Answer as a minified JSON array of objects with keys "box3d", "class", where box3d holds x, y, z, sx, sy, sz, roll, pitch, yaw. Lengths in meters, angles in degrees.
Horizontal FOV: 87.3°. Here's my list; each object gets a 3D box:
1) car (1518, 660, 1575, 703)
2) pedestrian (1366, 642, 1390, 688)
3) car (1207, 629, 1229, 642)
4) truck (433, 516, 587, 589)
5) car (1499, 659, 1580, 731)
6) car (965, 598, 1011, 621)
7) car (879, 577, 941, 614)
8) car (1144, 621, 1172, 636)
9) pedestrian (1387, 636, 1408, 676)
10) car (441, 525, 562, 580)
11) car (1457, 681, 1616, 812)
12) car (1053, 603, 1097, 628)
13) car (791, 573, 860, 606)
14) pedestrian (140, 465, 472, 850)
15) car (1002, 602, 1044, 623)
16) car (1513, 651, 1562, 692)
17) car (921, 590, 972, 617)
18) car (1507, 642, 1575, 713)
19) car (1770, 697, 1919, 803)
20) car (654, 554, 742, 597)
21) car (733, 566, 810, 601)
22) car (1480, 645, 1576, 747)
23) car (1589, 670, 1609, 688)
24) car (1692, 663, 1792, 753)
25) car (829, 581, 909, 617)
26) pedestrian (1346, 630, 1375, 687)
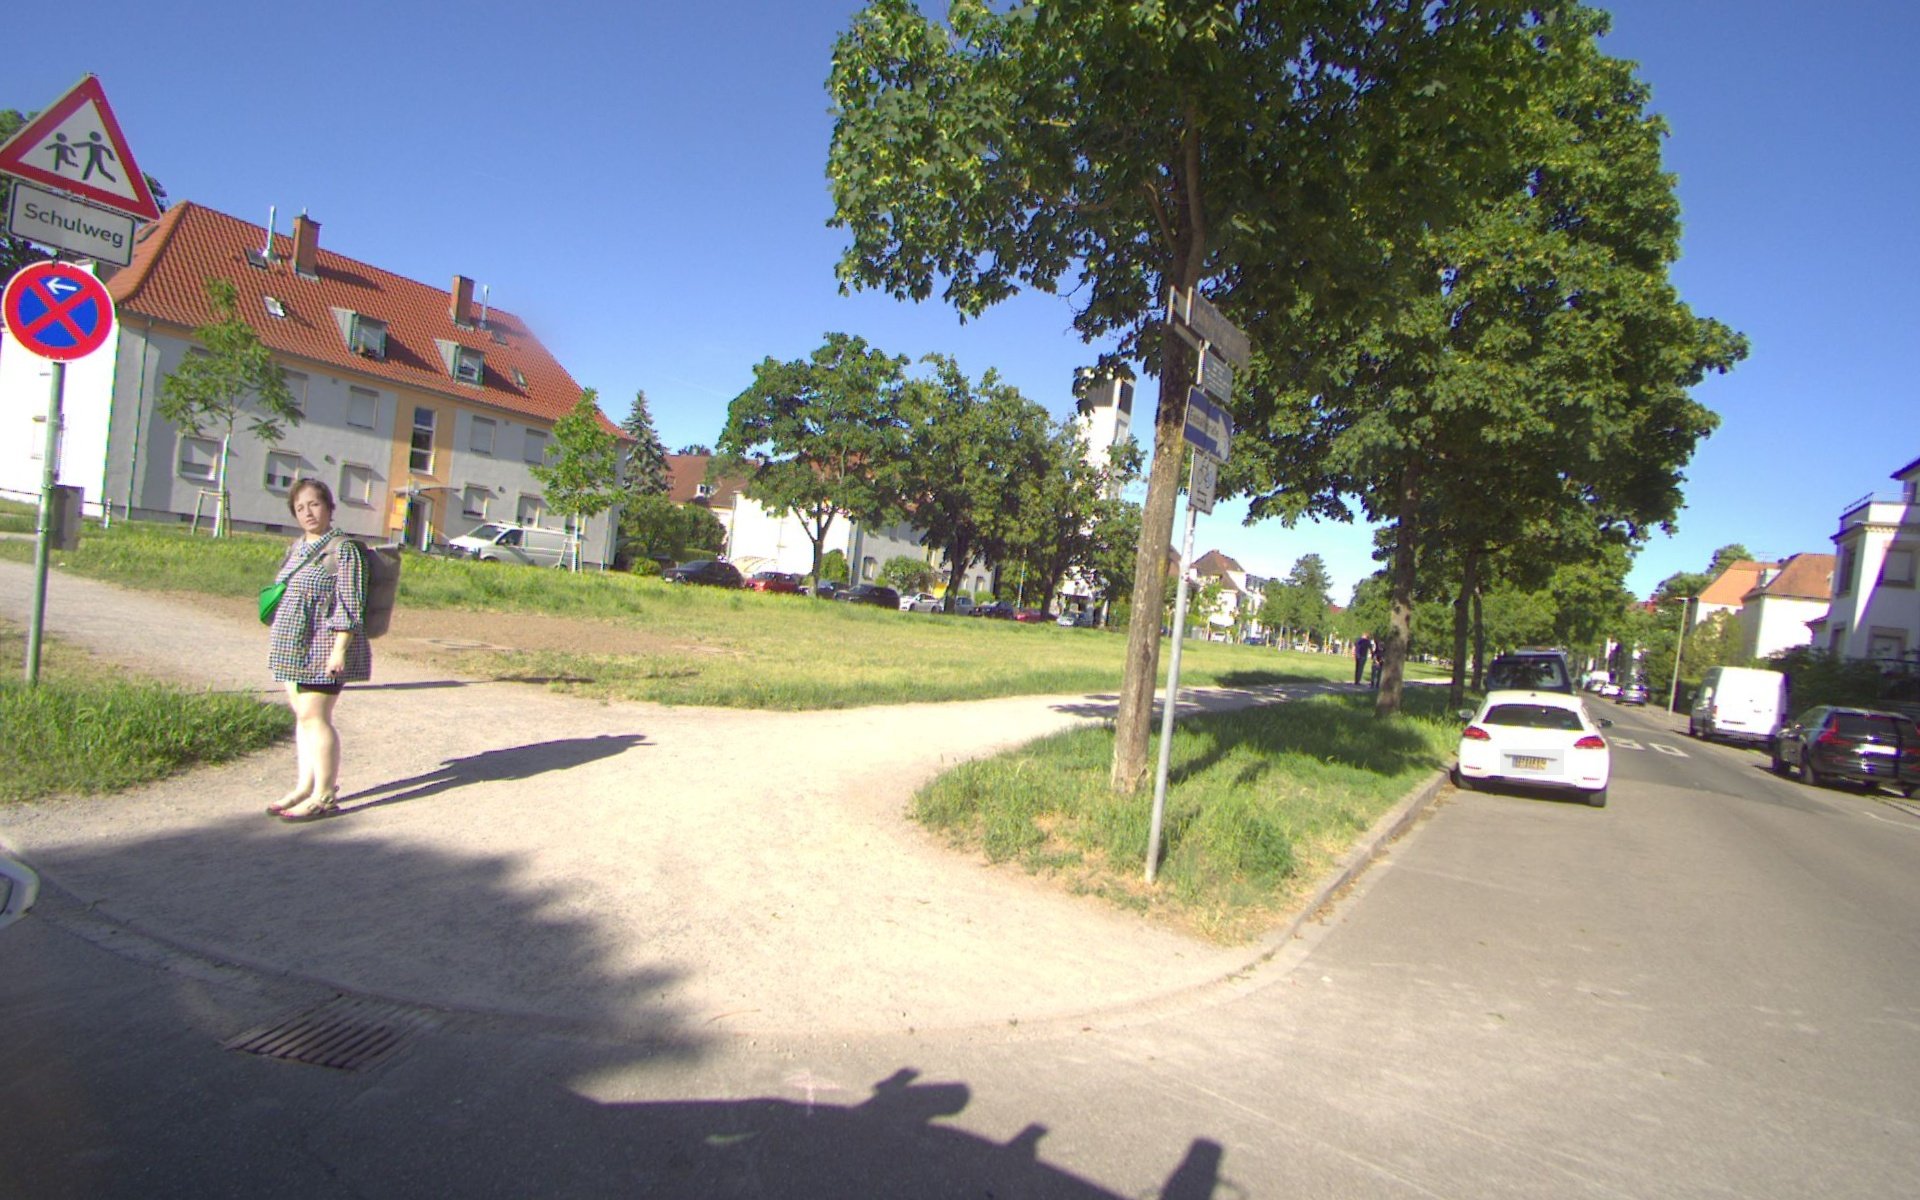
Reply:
[{"box3d":[27.241,3.752,46.675,2.051,1.619,4.278,8,1,32],"class":"car"},{"box3d":[14.233,2.212,34.250,0.488,1.524,0.534,8,2,31],"class":"pedestrian"},{"box3d":[33.337,4.625,129.853,1.693,1.358,3.801,8,1,31],"class":"car"},{"box3d":[-16.727,-1.724,37.664,1.966,2.062,4.864,8,1,30],"class":"truck"},{"box3d":[17.794,2.854,30.775,1.847,1.907,4.412,3,-2,33],"class":"car"},{"box3d":[2.129,0.717,75.983,1.693,1.358,3.801,8,1,31],"class":"car"},{"box3d":[-3.289,-0.265,66.819,1.840,2.039,4.247,8,1,31],"class":"car"},{"box3d":[21.607,3.116,109.786,1.693,1.358,3.801,8,1,31],"class":"car"},{"box3d":[21.672,2.776,49.831,0.712,1.900,0.628,8,2,30],"class":"pedestrian"},{"box3d":[-18.388,-1.864,40.488,1.693,1.685,4.055,8,1,31],"class":"car"},{"box3d":[8.365,1.990,14.624,1.711,1.450,3.986,3,-2,31],"class":"car"},{"box3d":[9.435,1.259,82.210,1.857,1.629,4.237,8,1,31],"class":"car"},{"box3d":[-7.840,-0.603,58.939,1.693,1.460,4.131,8,1,31],"class":"car"},{"box3d":[-3.332,0.234,5.206,0.896,1.699,1.088,7,6,14],"class":"pedestrian"},{"box3d":[5.098,1.037,81.107,1.693,1.358,3.801,8,1,31],"class":"car"},{"box3d":[39.483,4.866,68.676,2.509,2.363,5.906,8,1,32],"class":"car"},{"box3d":[-0.908,0.274,71.071,1.693,1.517,3.801,8,1,31],"class":"car"},{"box3d":[23.680,3.125,40.917,2.158,2.616,4.278,3,-2,32],"class":"car"},{"box3d":[18.776,3.076,21.287,1.865,1.703,4.279,6,0,32],"class":"car"},{"box3d":[-12.908,-1.187,49.795,1.693,1.603,4.131,8,1,31],"class":"car"},{"box3d":[-10.199,-0.880,54.816,1.693,1.460,4.131,8,1,31],"class":"car"},{"box3d":[13.552,2.217,23.924,1.756,2.109,3.985,3,-2,32],"class":"car"},{"box3d":[80.264,9.917,126.377,1.835,1.869,3.984,10,2,32],"class":"car"},{"box3d":[26.043,3.539,33.649,1.990,2.580,3.985,6,0,32],"class":"car"},{"box3d":[-5.056,-0.020,56.597,1.966,1.544,4.747,8,1,29],"class":"car"},{"box3d":[13.843,2.025,34.795,0.633,1.900,0.628,8,2,30],"class":"pedestrian"}]
